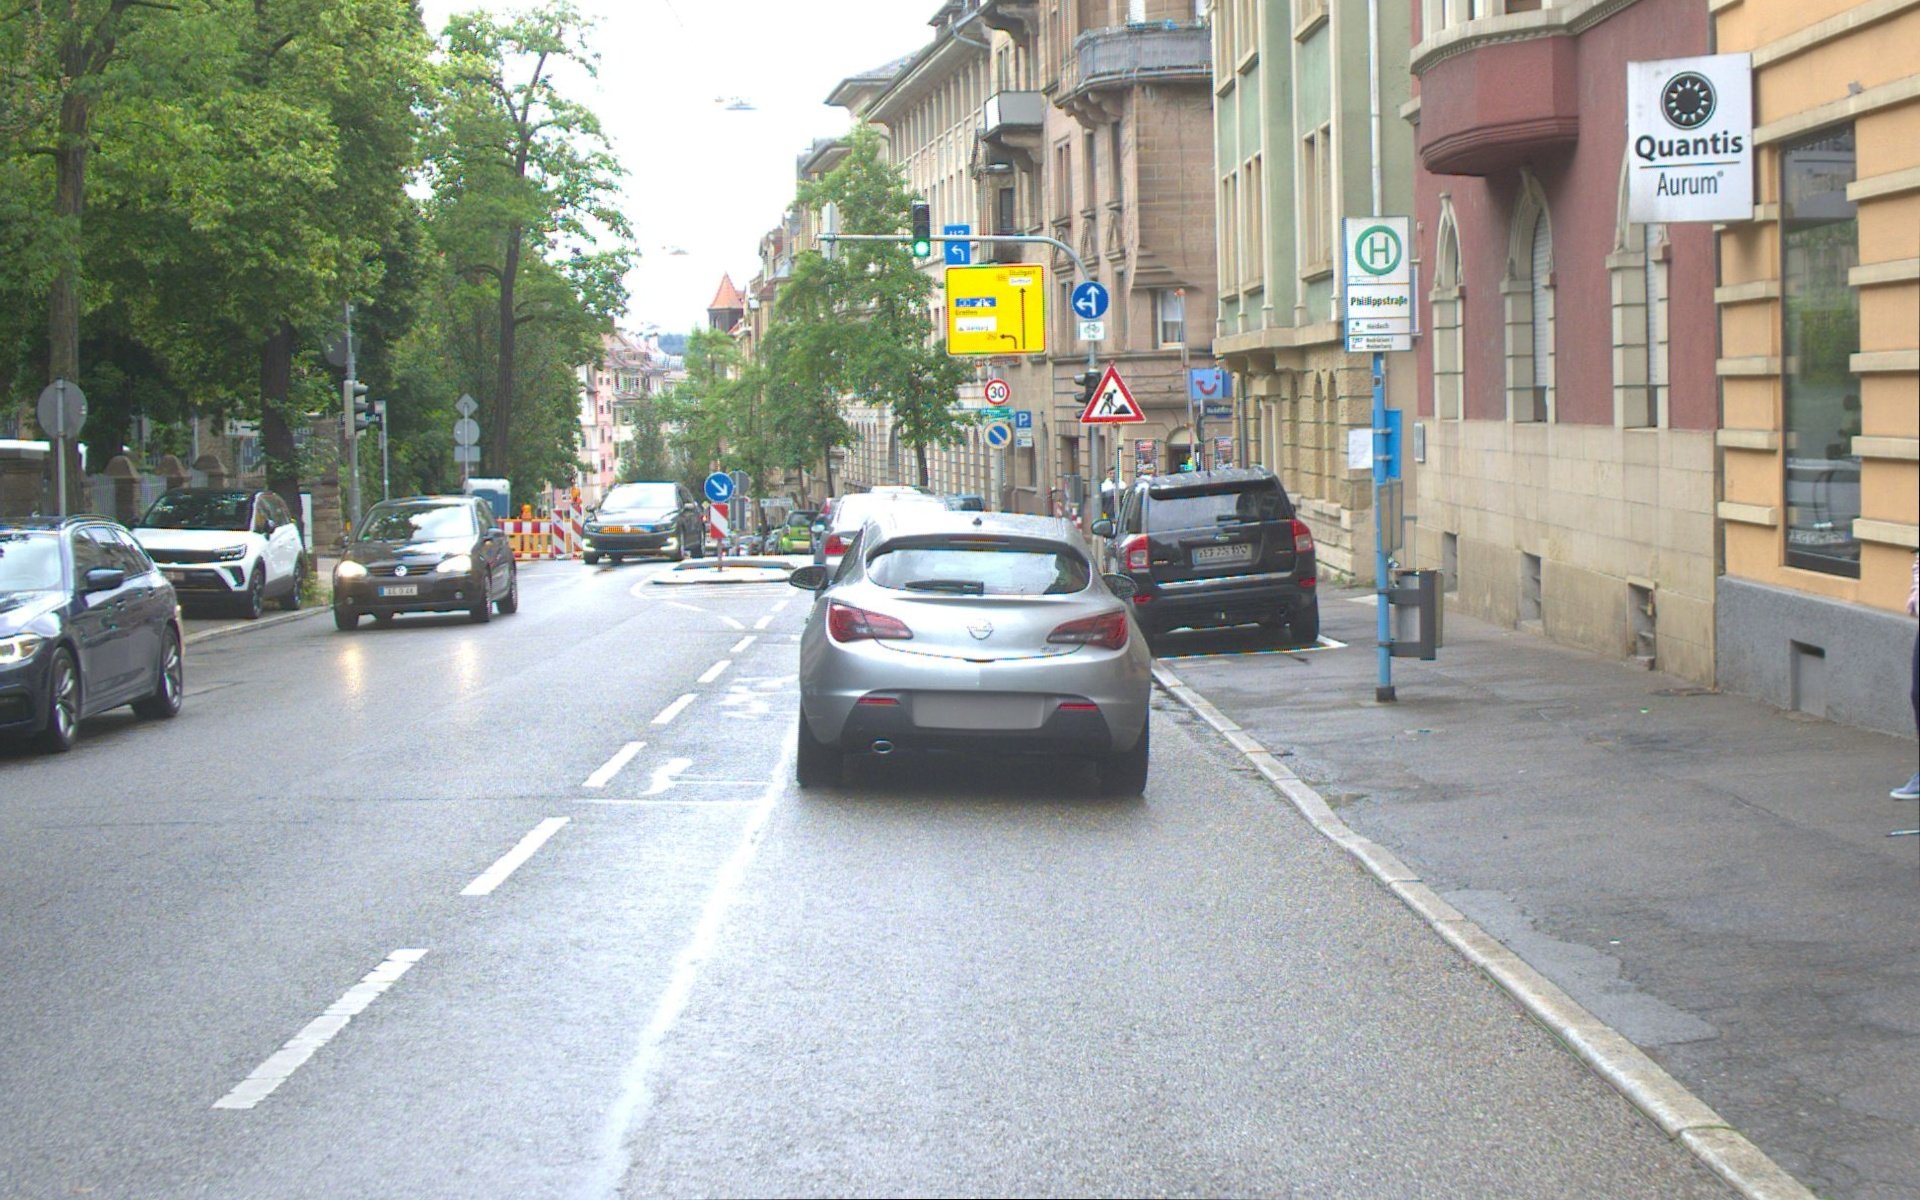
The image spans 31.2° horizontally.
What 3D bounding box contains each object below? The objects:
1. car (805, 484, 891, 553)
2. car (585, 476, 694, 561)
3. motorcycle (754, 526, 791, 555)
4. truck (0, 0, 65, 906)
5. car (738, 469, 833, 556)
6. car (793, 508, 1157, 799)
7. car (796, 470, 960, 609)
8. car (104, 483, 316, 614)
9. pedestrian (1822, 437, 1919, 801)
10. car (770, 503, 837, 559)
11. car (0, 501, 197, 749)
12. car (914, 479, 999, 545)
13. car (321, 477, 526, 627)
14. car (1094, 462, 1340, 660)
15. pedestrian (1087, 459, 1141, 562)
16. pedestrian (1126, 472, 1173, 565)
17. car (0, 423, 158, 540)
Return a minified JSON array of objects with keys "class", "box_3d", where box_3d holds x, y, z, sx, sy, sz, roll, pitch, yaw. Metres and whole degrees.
[{"class":"car","box_3d":[-2.729,-1.951,82.993,1.656,1.537,3.666,-3,1,-7]},{"class":"car","box_3d":[-5.947,-1.540,64.144,1.815,1.512,4.549,0,2,-3]},{"class":"motorcycle","box_3d":[-8.460,-2.681,155.194,0.656,1.231,1.978,0,0,32]},{"class":"truck","box_3d":[-5.138,-0.561,9.627,2.648,3.841,9.308,-3,2,0]},{"class":"car","box_3d":[-3.329,-1.656,66.077,1.656,1.537,3.666,-3,1,-1]},{"class":"car","box_3d":[0.095,0.229,19.074,1.811,1.444,3.869,0,1,1]},{"class":"car","box_3d":[-0.890,-0.691,39.296,1.772,1.499,3.869,0,1,0]},{"class":"car","box_3d":[-9.446,-0.663,43.611,1.741,1.554,4.302,1,1,0]},{"class":"pedestrian","box_3d":[4.416,0.070,15.432,0.766,1.584,0.712,-2,1,-19]},{"class":"car","box_3d":[-4.738,-2.063,103.633,1.656,1.537,3.666,-3,1,-7]},{"class":"car","box_3d":[-6.447,0.103,22.802,1.772,1.462,4.748,-2,2,-1]},{"class":"car","box_3d":[-0.117,-2.218,87.630,1.656,1.537,3.666,-3,1,-7]},{"class":"car","box_3d":[-6.291,-0.614,40.768,1.772,1.512,4.592,-2,4,-1]},{"class":"car","box_3d":[2.354,-0.388,32.613,1.877,1.624,4.698,-4,1,0]},{"class":"pedestrian","box_3d":[2.710,-1.574,60.439,0.718,1.768,0.665,-2,3,18]},{"class":"pedestrian","box_3d":[3.326,-1.432,60.205,0.597,1.579,0.665,-2,3,18]},{"class":"car","box_3d":[-18.775,-2.457,69.041,4.666,2.041,2.024,5,4,14]}]
